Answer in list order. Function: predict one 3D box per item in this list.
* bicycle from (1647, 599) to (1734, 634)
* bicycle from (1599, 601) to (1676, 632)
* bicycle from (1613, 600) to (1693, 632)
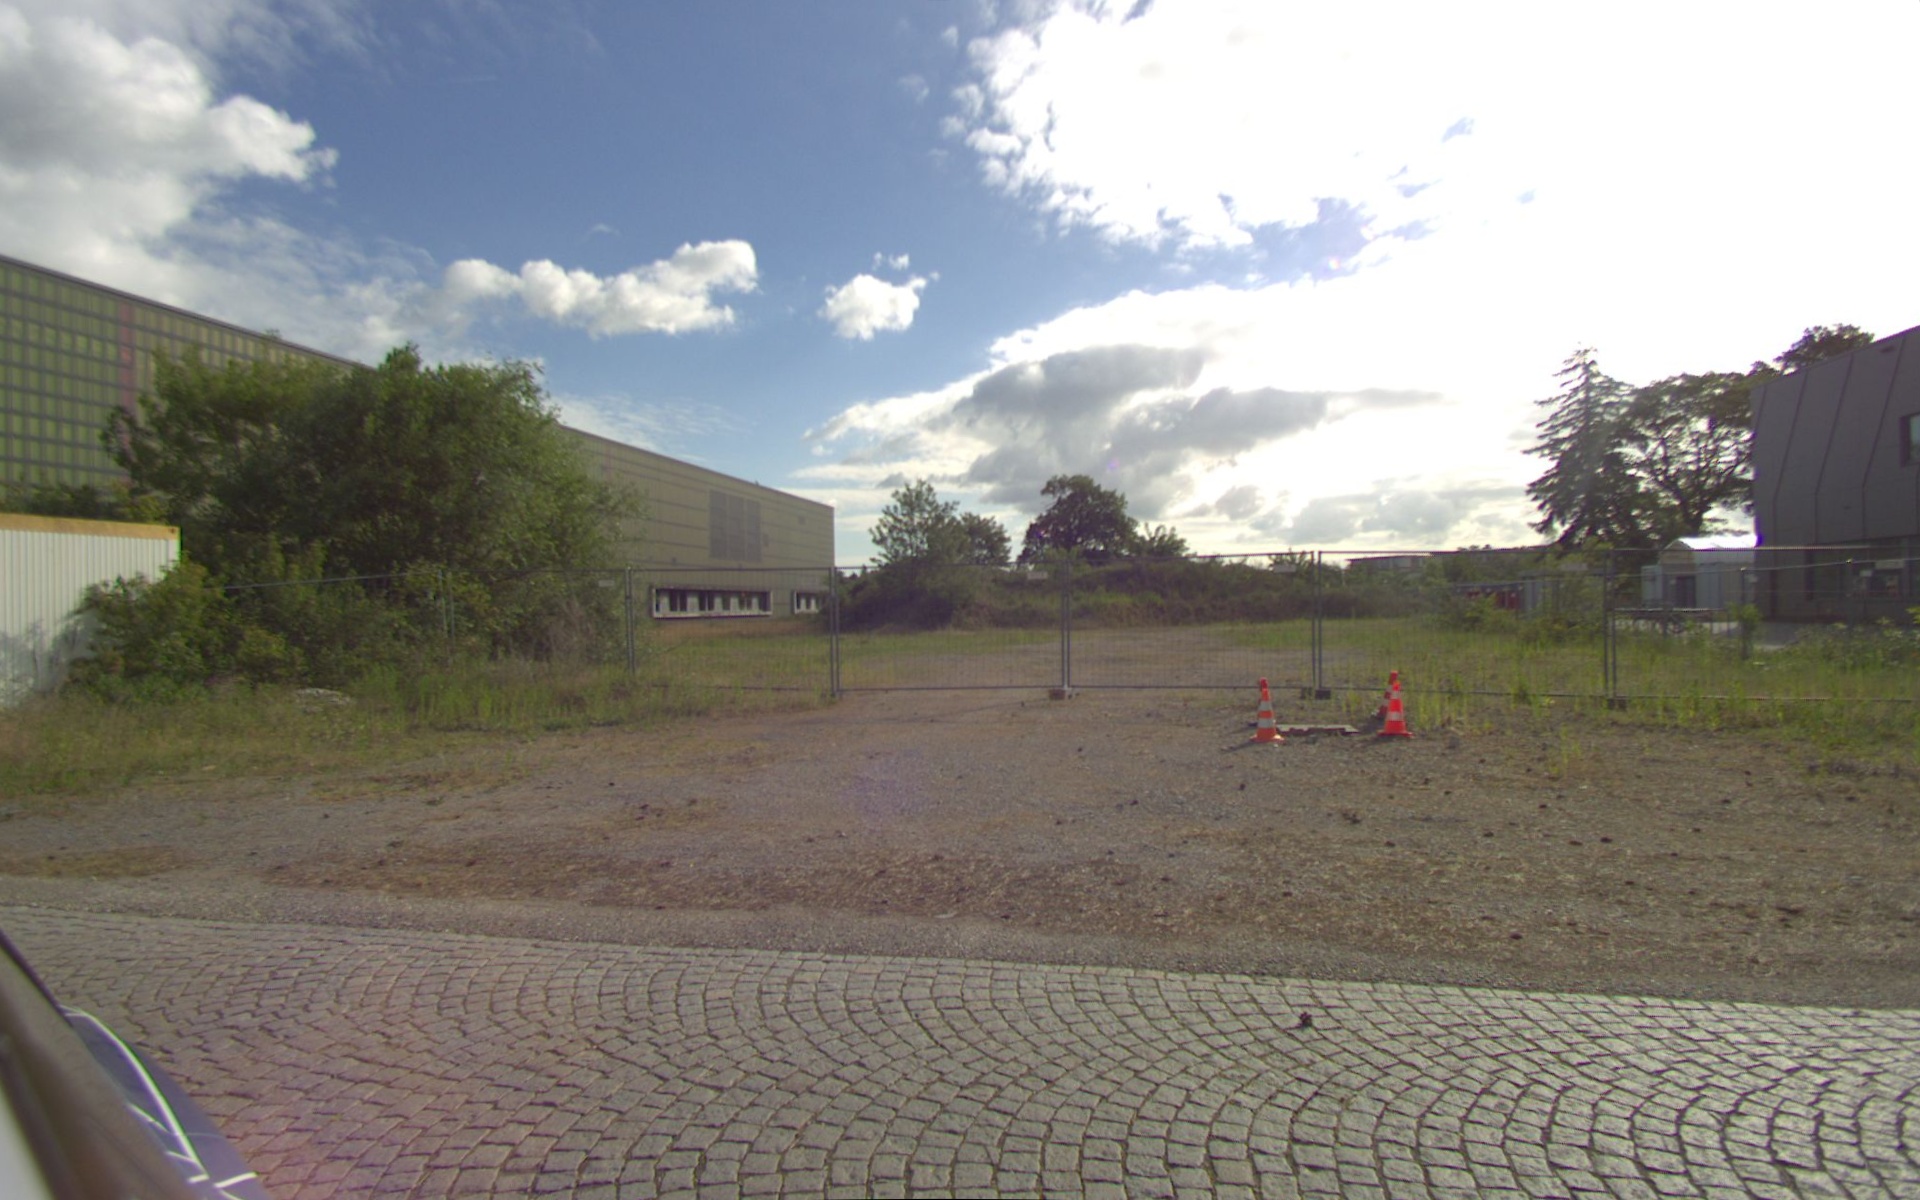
[{"bbox_3d":[23.895,0.538,33.150,2.046,1.095,0.943,-1,-1,10],"label":"bicycle"},{"bbox_3d":[24.392,0.600,36.486,2.046,1.052,0.943,-1,-1,10],"label":"bicycle"},{"bbox_3d":[24.206,0.571,35.385,2.046,1.052,0.943,-1,-1,10],"label":"bicycle"}]
